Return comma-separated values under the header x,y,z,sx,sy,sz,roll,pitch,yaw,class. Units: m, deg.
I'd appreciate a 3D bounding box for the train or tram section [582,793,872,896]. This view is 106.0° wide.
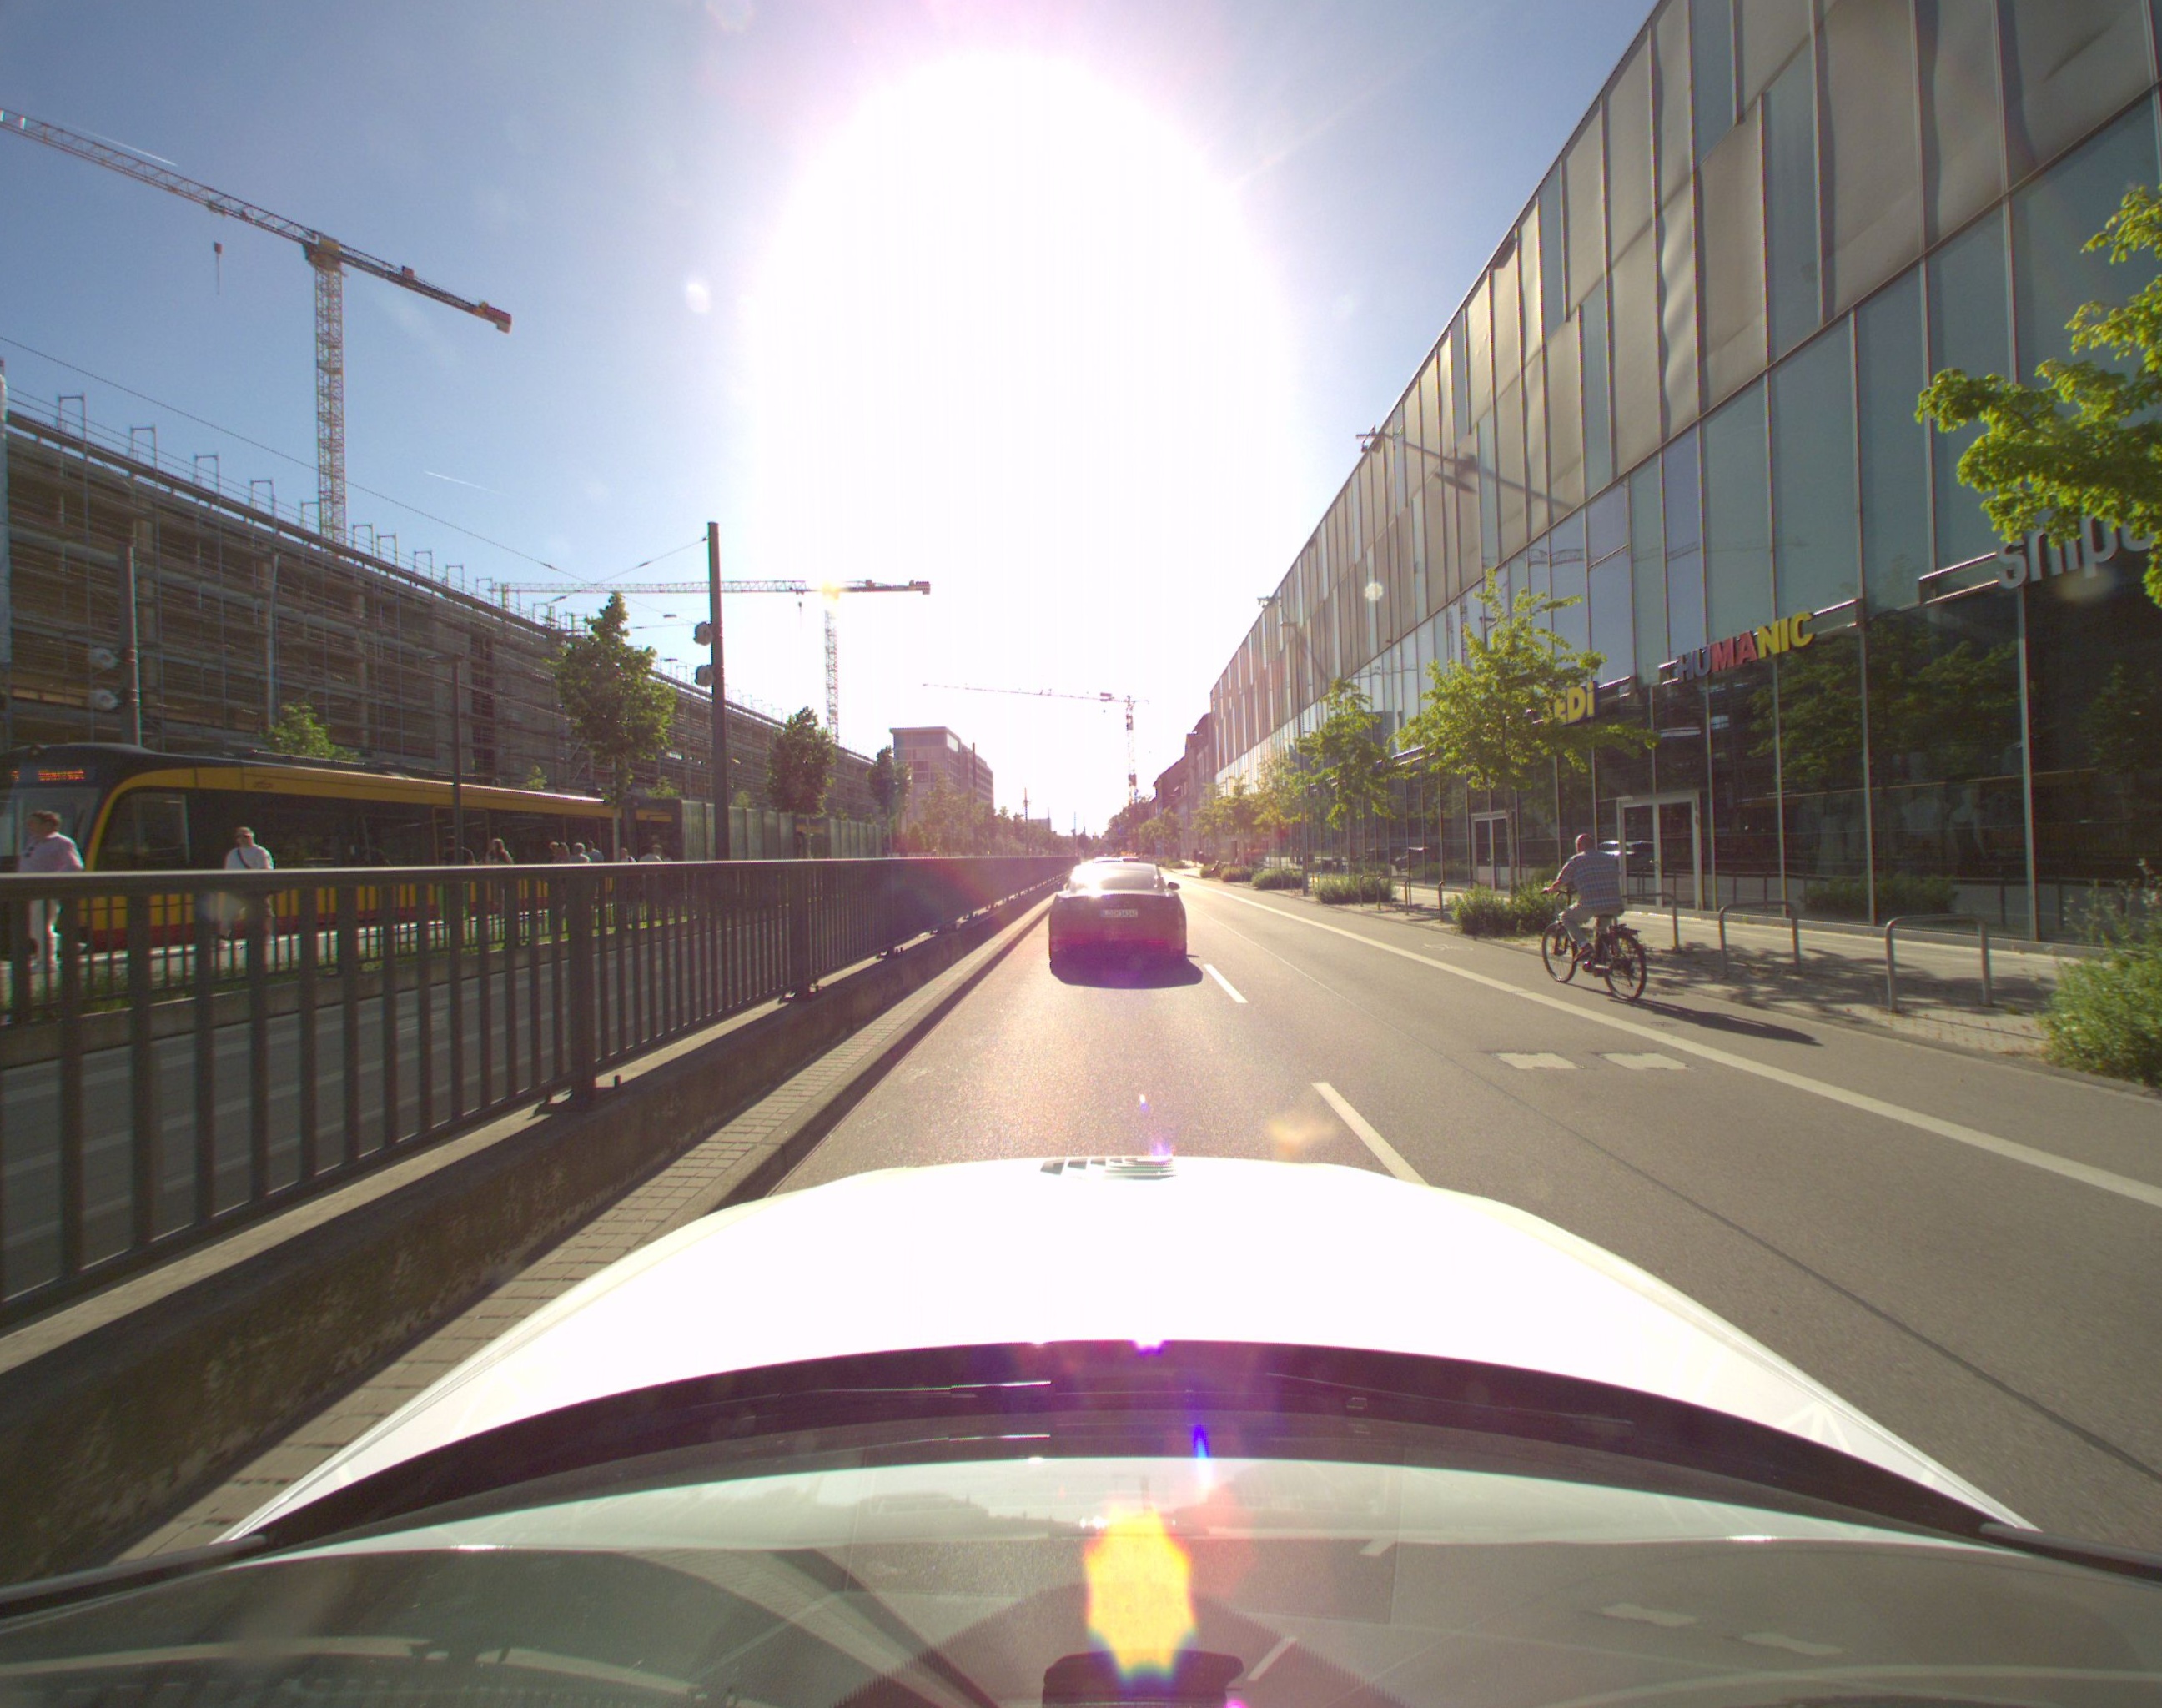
x,y,z,sx,sy,sz,roll,pitch,yaw,class
-14.146,-0.335,37.076,2.859,3.279,22.153,0,0,2,train or tram section

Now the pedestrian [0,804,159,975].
x,y,z,sx,sy,sz,roll,pitch,yaw,class
-11.706,0.393,9.423,0.883,1.851,1.008,-2,0,2,pedestrian

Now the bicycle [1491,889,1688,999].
x,y,z,sx,sy,sz,roll,pitch,yaw,class
5.633,0.940,9.246,0.726,0.983,2.331,0,0,-2,bicycle

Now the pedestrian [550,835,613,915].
x,y,z,sx,sy,sz,roll,pitch,yaw,class
-10.546,0.437,17.218,0.738,1.628,0.862,-2,0,3,pedestrian

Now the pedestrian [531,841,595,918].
x,y,z,sx,sy,sz,roll,pitch,yaw,class
-11.281,0.540,17.761,0.738,1.628,0.948,-2,0,3,pedestrian

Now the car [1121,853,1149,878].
x,y,z,sx,sy,sz,roll,pitch,yaw,class
3.578,0.736,54.202,1.777,1.546,4.042,-1,0,3,car

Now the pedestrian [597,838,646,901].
x,y,z,sx,sy,sz,roll,pitch,yaw,class
-12.248,0.407,21.738,0.738,1.628,0.862,-2,0,3,pedestrian

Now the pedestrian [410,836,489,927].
x,y,z,sx,sy,sz,roll,pitch,yaw,class
-11.703,0.498,15.123,0.738,1.628,0.862,-2,0,3,pedestrian

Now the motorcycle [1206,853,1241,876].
x,y,z,sx,sy,sz,roll,pitch,yaw,class
9.142,0.685,52.308,2.054,1.353,0.656,-4,-1,24,motorcycle

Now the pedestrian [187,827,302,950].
x,y,z,sx,sy,sz,roll,pitch,yaw,class
-12.131,0.482,11.836,0.738,1.694,0.862,-2,0,3,pedestrian

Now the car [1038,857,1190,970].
x,y,z,sx,sy,sz,roll,pitch,yaw,class
0.617,0.804,13.015,1.990,1.434,4.418,-1,0,5,car

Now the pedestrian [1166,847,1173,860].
x,y,z,sx,sy,sz,roll,pitch,yaw,class
12.594,-0.035,116.283,0.848,1.863,0.930,-2,0,0,pedestrian

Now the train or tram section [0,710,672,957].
x,y,z,sx,sy,sz,roll,pitch,yaw,class
-14.759,-0.303,18.435,2.859,3.279,15.192,0,0,2,train or tram section

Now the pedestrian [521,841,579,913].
x,y,z,sx,sy,sz,roll,pitch,yaw,class
-12.399,0.530,19.044,0.738,1.628,0.862,-2,0,3,pedestrian

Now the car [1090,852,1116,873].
x,y,z,sx,sy,sz,roll,pitch,yaw,class
1.838,0.701,67.799,1.879,1.596,4.005,-2,0,5,car

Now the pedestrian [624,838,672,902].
x,y,z,sx,sy,sz,roll,pitch,yaw,class
-11.458,0.411,21.573,0.738,1.628,0.862,-2,0,3,pedestrian

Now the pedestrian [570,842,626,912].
x,y,z,sx,sy,sz,roll,pitch,yaw,class
-11.507,0.538,19.423,0.738,1.628,0.862,-2,0,3,pedestrian

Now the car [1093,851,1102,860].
x,y,z,sx,sy,sz,roll,pitch,yaw,class
3.539,0.355,175.760,1.806,1.809,4.042,-1,0,3,car

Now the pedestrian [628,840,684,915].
x,y,z,sx,sy,sz,roll,pitch,yaw,class
-9.570,0.520,18.347,0.738,1.628,0.862,-2,0,3,pedestrian

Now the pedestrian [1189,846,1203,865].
x,y,z,sx,sy,sz,roll,pitch,yaw,class
11.812,0.186,83.674,1.091,1.863,1.523,-2,0,0,pedestrian

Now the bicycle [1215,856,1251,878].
x,y,z,sx,sy,sz,roll,pitch,yaw,class
8.909,0.758,47.670,1.881,1.151,0.669,-3,0,-9,bicycle

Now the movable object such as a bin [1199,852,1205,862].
x,y,z,sx,sy,sz,roll,pitch,yaw,class
13.136,0.322,88.564,0.556,1.169,0.563,0,-1,5,movable object such as a bin

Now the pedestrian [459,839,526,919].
x,y,z,sx,sy,sz,roll,pitch,yaw,class
-12.406,0.511,17.186,0.738,1.628,0.862,-2,0,3,pedestrian

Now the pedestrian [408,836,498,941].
x,y,z,sx,sy,sz,roll,pitch,yaw,class
-10.209,0.546,13.263,0.738,1.628,0.862,-2,0,3,pedestrian

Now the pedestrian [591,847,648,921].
x,y,z,sx,sy,sz,roll,pitch,yaw,class
-10.405,0.659,18.392,0.738,1.628,0.862,-2,0,3,pedestrian

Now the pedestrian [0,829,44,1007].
x,y,z,sx,sy,sz,roll,pitch,yaw,class
-10.257,0.596,7.321,0.738,1.628,0.862,-2,0,3,pedestrian

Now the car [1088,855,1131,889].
x,y,z,sx,sy,sz,roll,pitch,yaw,class
1.250,0.721,34.623,1.709,1.319,4.003,-1,0,3,car

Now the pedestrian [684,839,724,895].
x,y,z,sx,sy,sz,roll,pitch,yaw,class
-11.237,0.378,24.293,0.738,1.628,0.862,-2,0,3,pedestrian

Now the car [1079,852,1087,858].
x,y,z,sx,sy,sz,roll,pitch,yaw,class
0.435,0.323,213.002,1.987,1.684,4.000,0,0,1,car

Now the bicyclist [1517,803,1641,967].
x,y,z,sx,sy,sz,roll,pitch,yaw,class
5.606,0.331,9.223,0.723,1.737,0.997,-2,0,-2,bicyclist

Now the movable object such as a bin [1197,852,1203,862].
x,y,z,sx,sy,sz,roll,pitch,yaw,class
13.083,0.327,89.415,0.556,1.169,0.563,0,-1,5,movable object such as a bin
